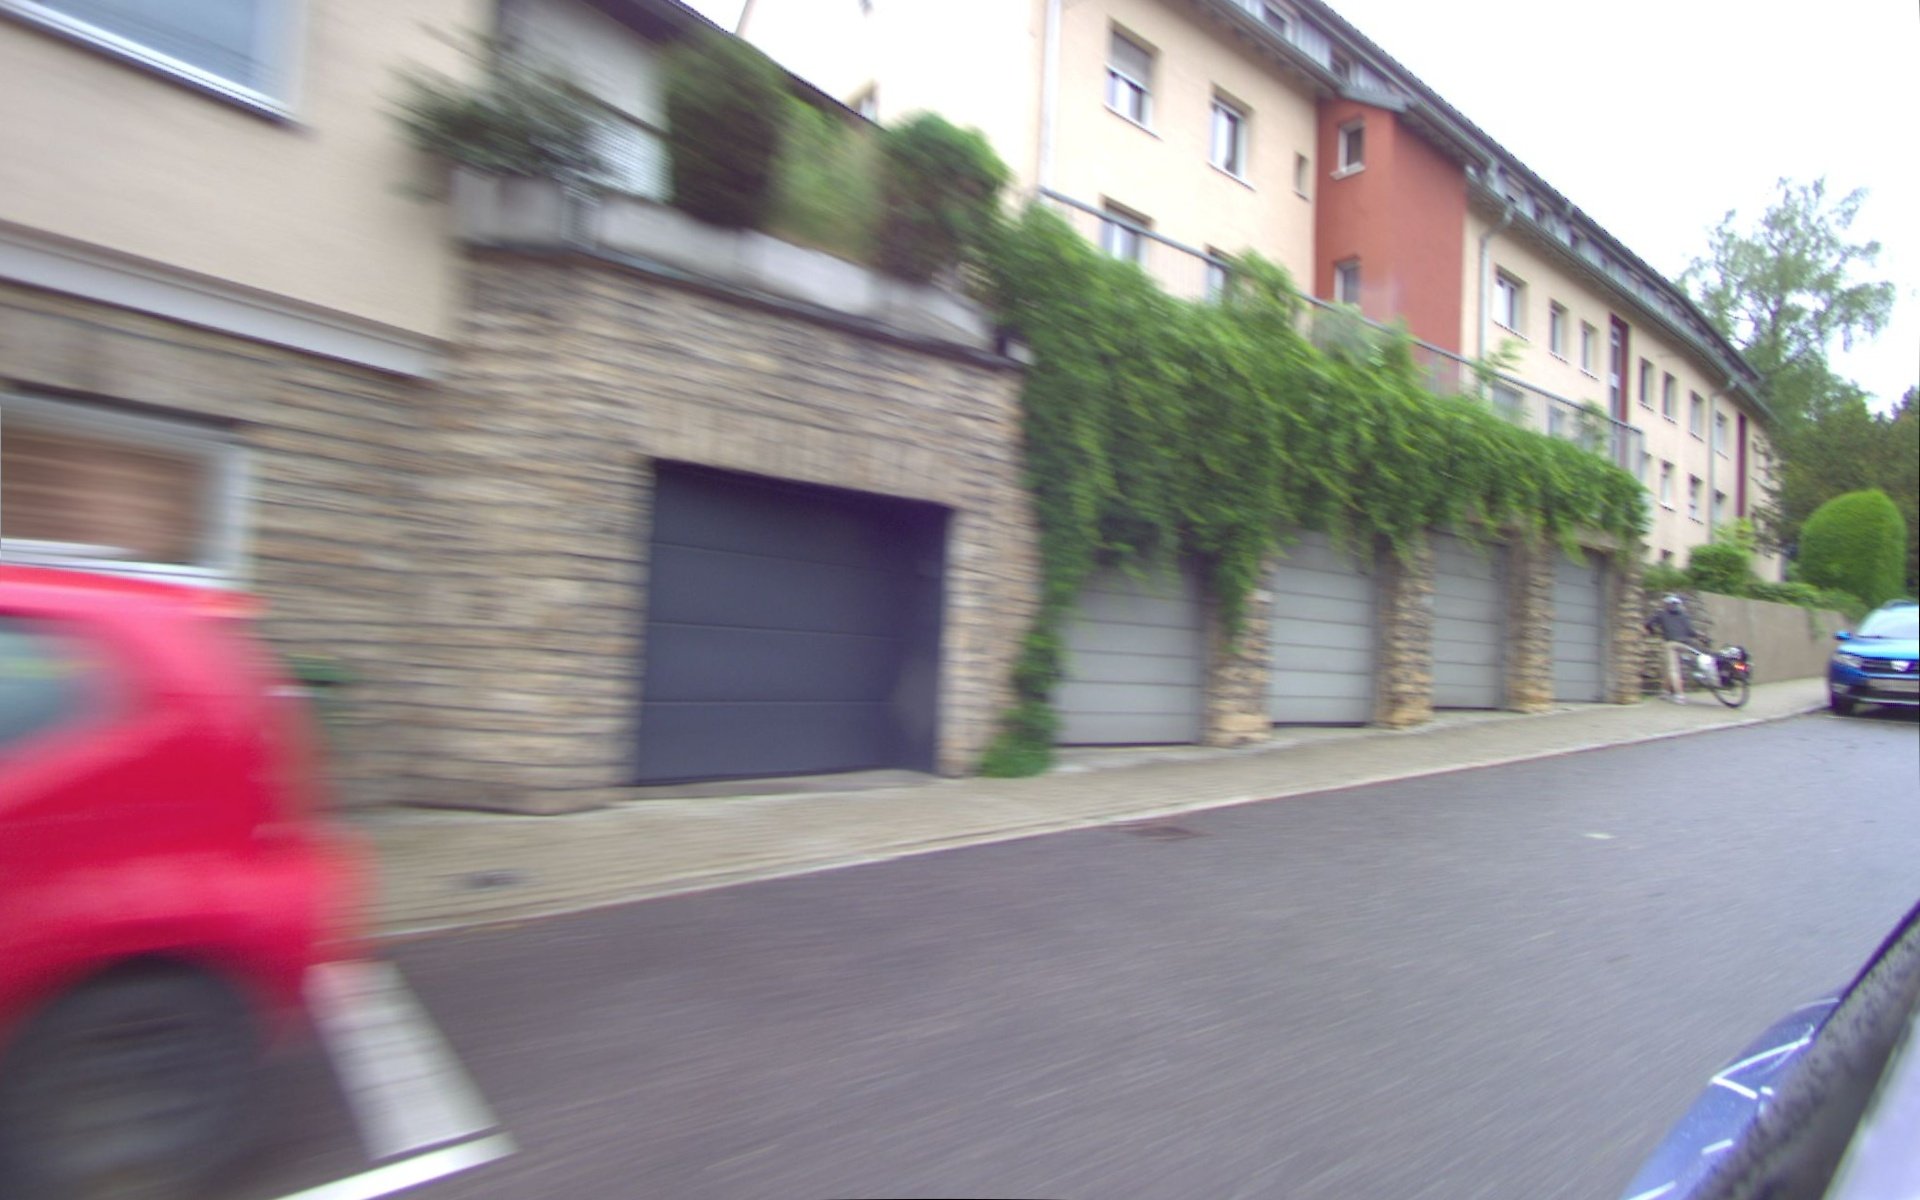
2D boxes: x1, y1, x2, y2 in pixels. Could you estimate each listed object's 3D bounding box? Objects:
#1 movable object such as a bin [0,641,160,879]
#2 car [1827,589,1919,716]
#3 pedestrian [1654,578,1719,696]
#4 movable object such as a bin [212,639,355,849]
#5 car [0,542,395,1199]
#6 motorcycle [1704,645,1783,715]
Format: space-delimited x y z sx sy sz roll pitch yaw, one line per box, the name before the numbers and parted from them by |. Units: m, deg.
movable object such as a bin | -3.969 0.682 4.576 0.498 0.935 0.589 3 2 -40
car | 13.940 0.696 14.206 4.173 1.614 1.739 1 -1 -36
pedestrian | 10.551 0.529 14.718 0.614 1.672 0.609 -1 -1 24
movable object such as a bin | -3.458 0.699 5.166 0.505 0.935 0.597 3 2 -40
car | -3.249 0.571 1.921 3.520 1.453 1.617 1 2 -43
motorcycle | 10.727 1.074 13.898 0.531 0.867 1.368 -1 -1 24
